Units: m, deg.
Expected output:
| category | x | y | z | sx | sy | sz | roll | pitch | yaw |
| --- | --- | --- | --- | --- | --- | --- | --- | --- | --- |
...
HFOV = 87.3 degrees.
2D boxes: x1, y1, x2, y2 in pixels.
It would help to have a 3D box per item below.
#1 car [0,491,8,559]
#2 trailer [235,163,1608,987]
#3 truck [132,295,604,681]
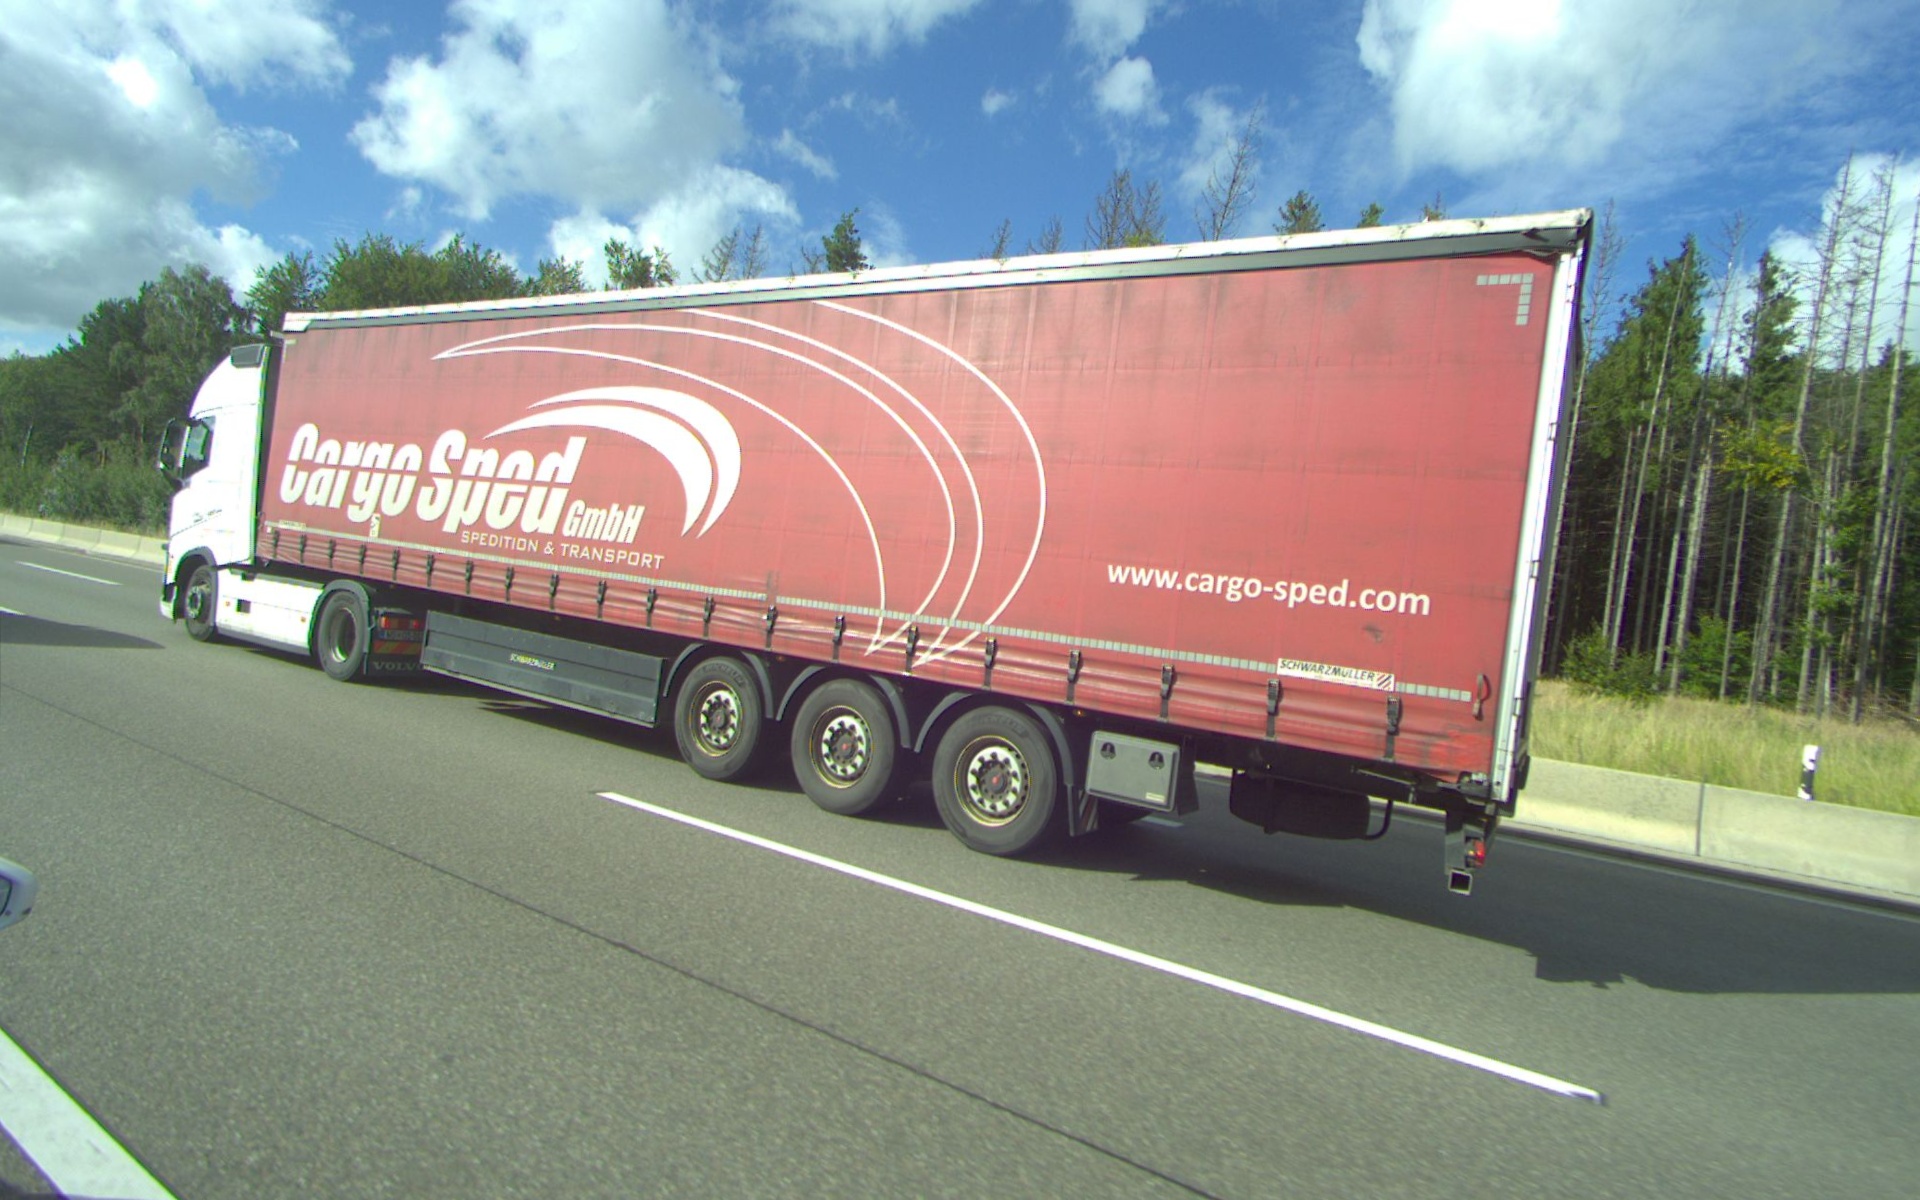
| category | x | y | z | sx | sy | sz | roll | pitch | yaw |
| --- | --- | --- | --- | --- | --- | --- | --- | --- | --- |
| car | -12.641 | -0.689 | 11.273 | 4.385 | 1.548 | 1.775 | 7 | -1 | 33 |
| trailer | -2.042 | -0.676 | 9.705 | 13.486 | 4.094 | 2.778 | 7 | -1 | 32 |
| truck | -7.980 | -1.382 | 13.430 | 5.678 | 4.094 | 2.778 | 7 | -1 | 32 |
